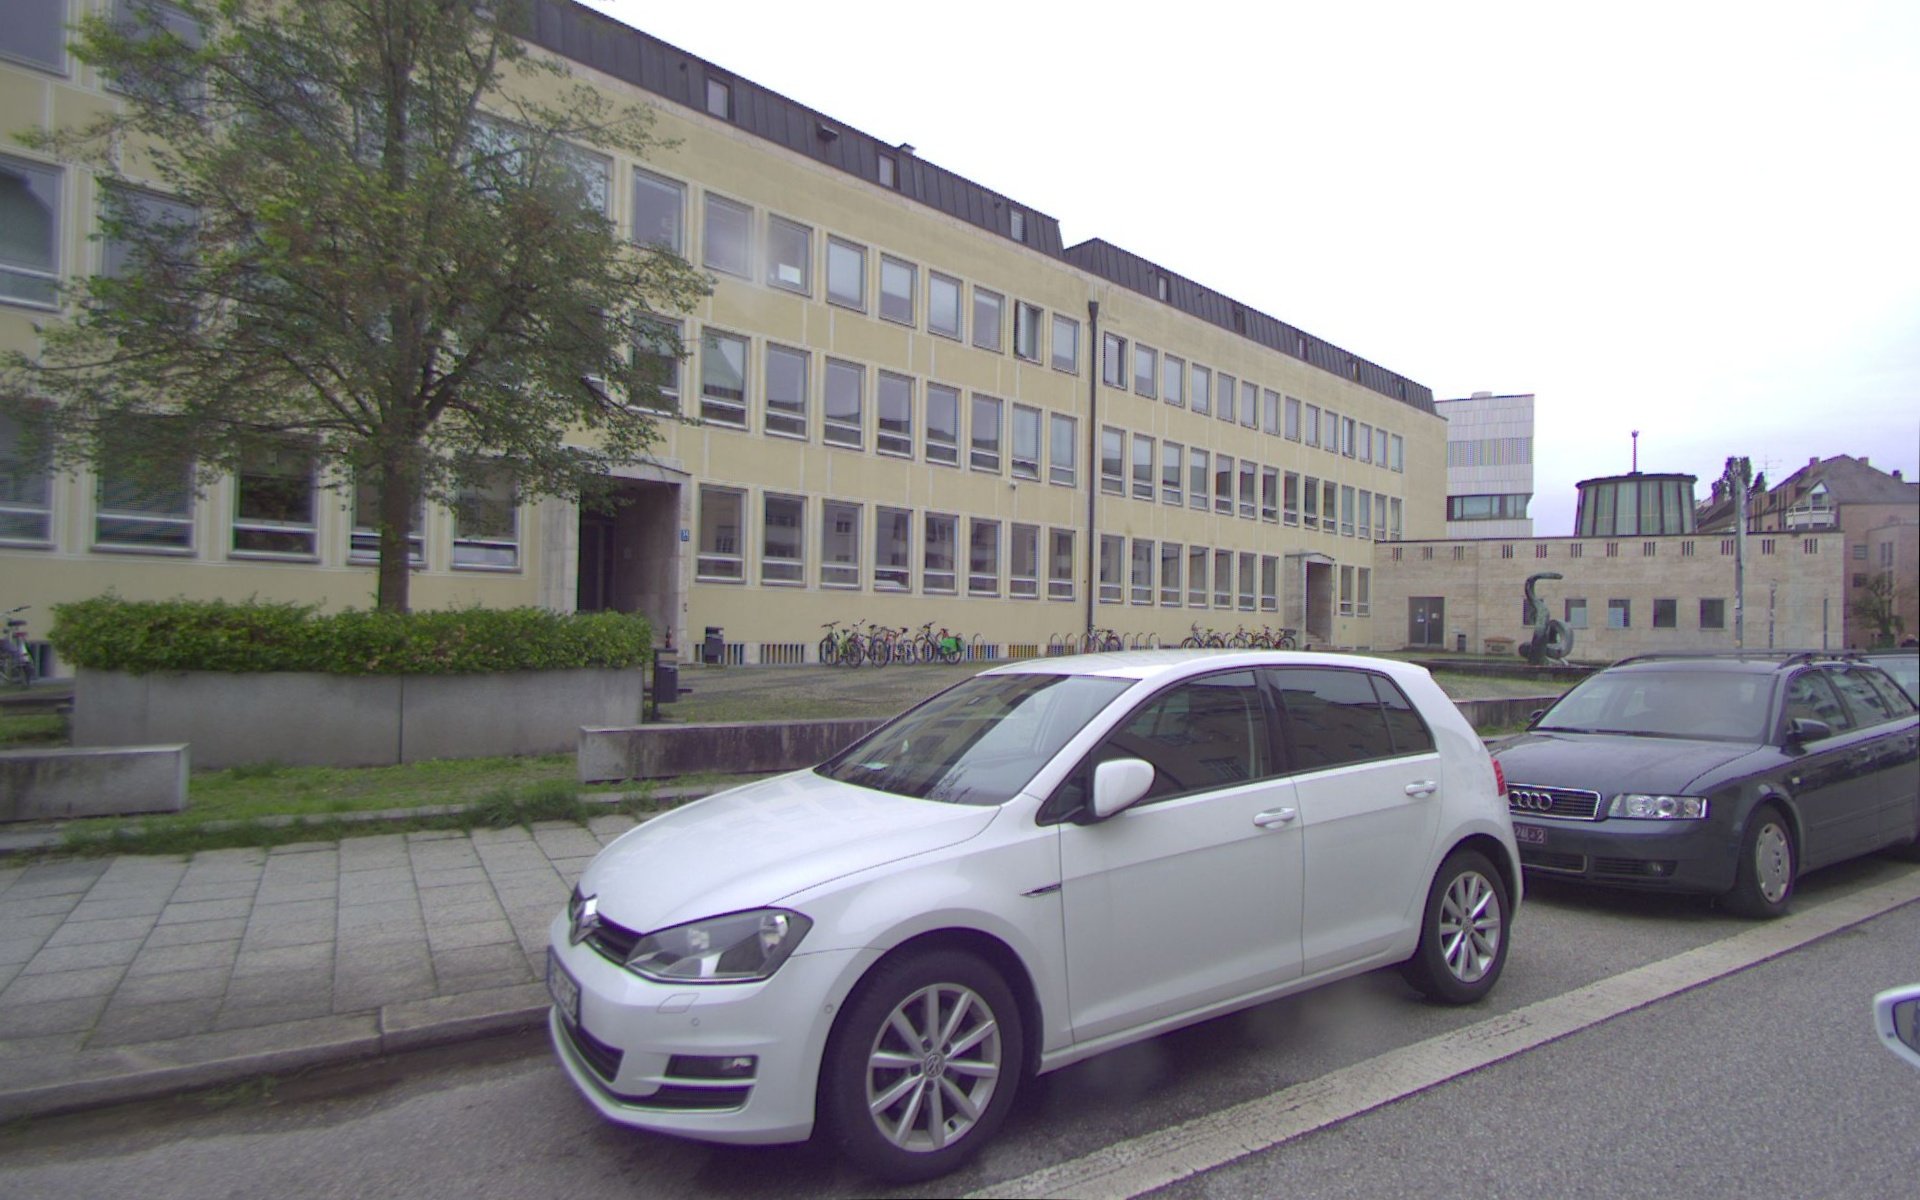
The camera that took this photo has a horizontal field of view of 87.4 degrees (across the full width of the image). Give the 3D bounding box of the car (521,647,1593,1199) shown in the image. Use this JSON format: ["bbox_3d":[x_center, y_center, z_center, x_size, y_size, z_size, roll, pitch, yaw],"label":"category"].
[{"bbox_3d":[0.603,0.923,4.163,4.247,1.441,1.732,2,-3,-32],"label":"car"}]

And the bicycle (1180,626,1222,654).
[{"bbox_3d":[8.932,1.492,37.256,1.455,0.957,0.412,2,0,44],"label":"bicycle"}]

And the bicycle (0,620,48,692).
[{"bbox_3d":[-13.935,0.802,14.860,1.586,0.957,0.500,2,0,42],"label":"bicycle"}]

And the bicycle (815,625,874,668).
[{"bbox_3d":[-2.910,1.154,25.091,0.411,0.957,1.934,1,0,-41],"label":"bicycle"}]

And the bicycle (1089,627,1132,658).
[{"bbox_3d":[4.984,1.398,33.270,1.392,0.957,0.412,2,0,44],"label":"bicycle"}]

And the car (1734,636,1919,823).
[{"bbox_3d":[9.036,1.112,9.456,3.564,1.514,1.622,2,-4,-32],"label":"car"}]

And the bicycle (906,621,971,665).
[{"bbox_3d":[-0.600,1.158,27.670,1.825,1.110,0.698,2,0,44],"label":"bicycle"}]

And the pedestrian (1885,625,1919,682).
[{"bbox_3d":[32.407,1.821,34.459,0.830,1.891,0.712,1,-1,32],"label":"pedestrian"}]

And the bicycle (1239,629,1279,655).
[{"bbox_3d":[11.885,1.649,39.922,1.455,0.957,0.412,2,0,44],"label":"bicycle"}]

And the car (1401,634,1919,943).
[{"bbox_3d":[5.009,1.005,6.753,4.227,1.514,1.623,2,-3,-31],"label":"car"}]

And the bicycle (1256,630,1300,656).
[{"bbox_3d":[12.942,1.731,40.858,1.688,0.957,0.412,2,0,44],"label":"bicycle"}]

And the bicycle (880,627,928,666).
[{"bbox_3d":[-1.497,1.223,26.551,1.392,0.957,0.412,2,0,45],"label":"bicycle"}]

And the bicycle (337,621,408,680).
[{"bbox_3d":[-10.511,0.882,17.958,1.583,0.957,0.501,2,0,37],"label":"bicycle"}]

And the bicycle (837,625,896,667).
[{"bbox_3d":[-2.406,1.166,25.637,0.411,0.957,1.839,1,0,-44],"label":"bicycle"}]

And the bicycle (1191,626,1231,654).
[{"bbox_3d":[9.459,1.505,37.902,1.455,0.957,0.412,2,0,44],"label":"bicycle"}]

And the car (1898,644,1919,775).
[{"bbox_3d":[13.110,1.259,12.086,4.422,1.484,1.763,2,-3,-35],"label":"car"}]
